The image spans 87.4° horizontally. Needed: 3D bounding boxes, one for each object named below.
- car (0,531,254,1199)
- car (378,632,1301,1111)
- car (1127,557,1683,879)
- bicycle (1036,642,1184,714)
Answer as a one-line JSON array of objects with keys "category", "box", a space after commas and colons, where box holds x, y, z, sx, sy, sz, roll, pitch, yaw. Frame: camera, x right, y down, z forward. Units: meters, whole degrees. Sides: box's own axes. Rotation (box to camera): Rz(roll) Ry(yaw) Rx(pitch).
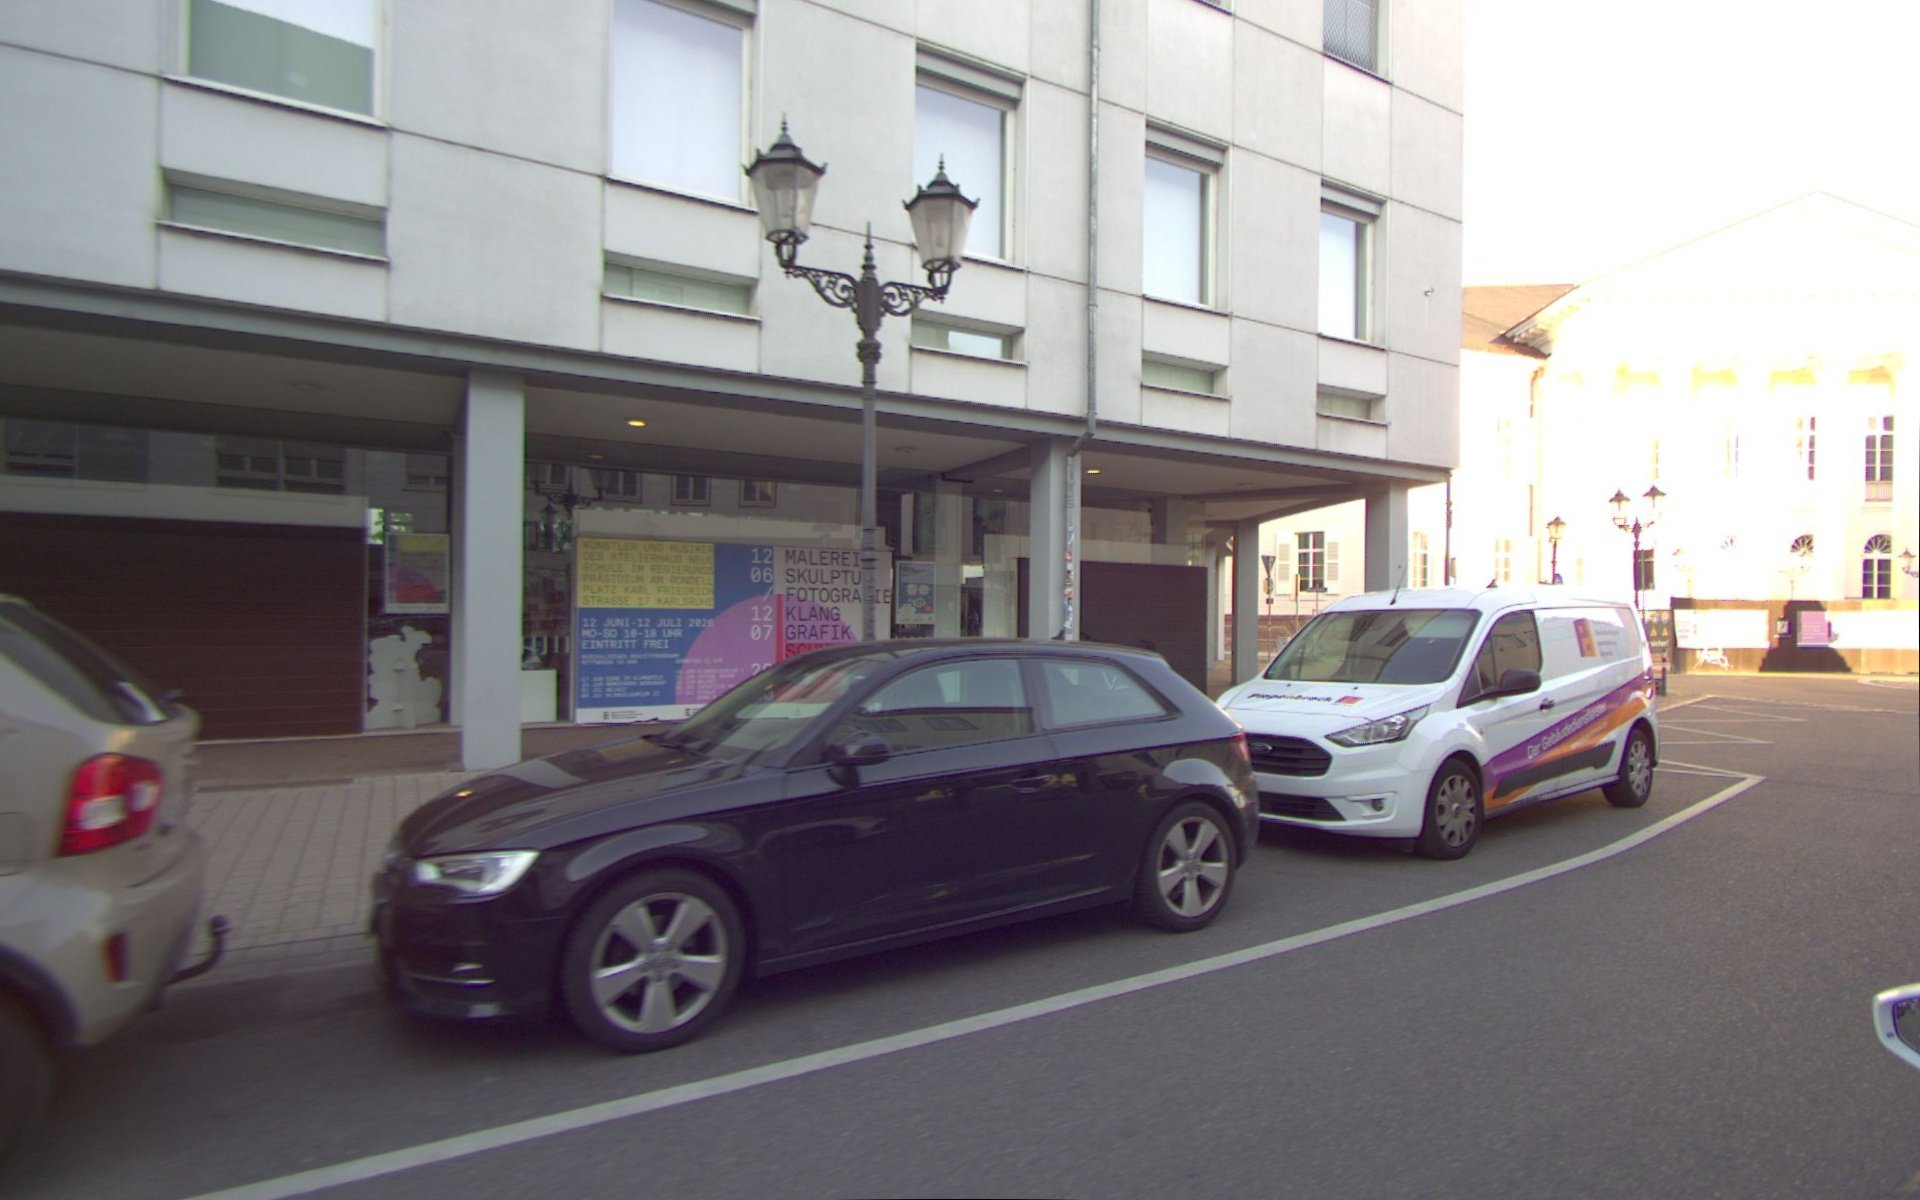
[{"category": "car", "box": [-4.215, 0.673, 2.441, 3.957, 1.684, 1.983, 1, -2, -33]}, {"category": "car", "box": [-0.398, 0.864, 4.787, 4.060, 1.371, 1.668, 1, 0, -32]}, {"category": "car", "box": [3.703, 0.711, 7.967, 4.739, 1.840, 1.979, 1, 0, -37]}, {"category": "bicycle", "box": [2.308, 1.157, 15.338, 2.309, 0.997, 0.729, 1, 0, -31]}]
